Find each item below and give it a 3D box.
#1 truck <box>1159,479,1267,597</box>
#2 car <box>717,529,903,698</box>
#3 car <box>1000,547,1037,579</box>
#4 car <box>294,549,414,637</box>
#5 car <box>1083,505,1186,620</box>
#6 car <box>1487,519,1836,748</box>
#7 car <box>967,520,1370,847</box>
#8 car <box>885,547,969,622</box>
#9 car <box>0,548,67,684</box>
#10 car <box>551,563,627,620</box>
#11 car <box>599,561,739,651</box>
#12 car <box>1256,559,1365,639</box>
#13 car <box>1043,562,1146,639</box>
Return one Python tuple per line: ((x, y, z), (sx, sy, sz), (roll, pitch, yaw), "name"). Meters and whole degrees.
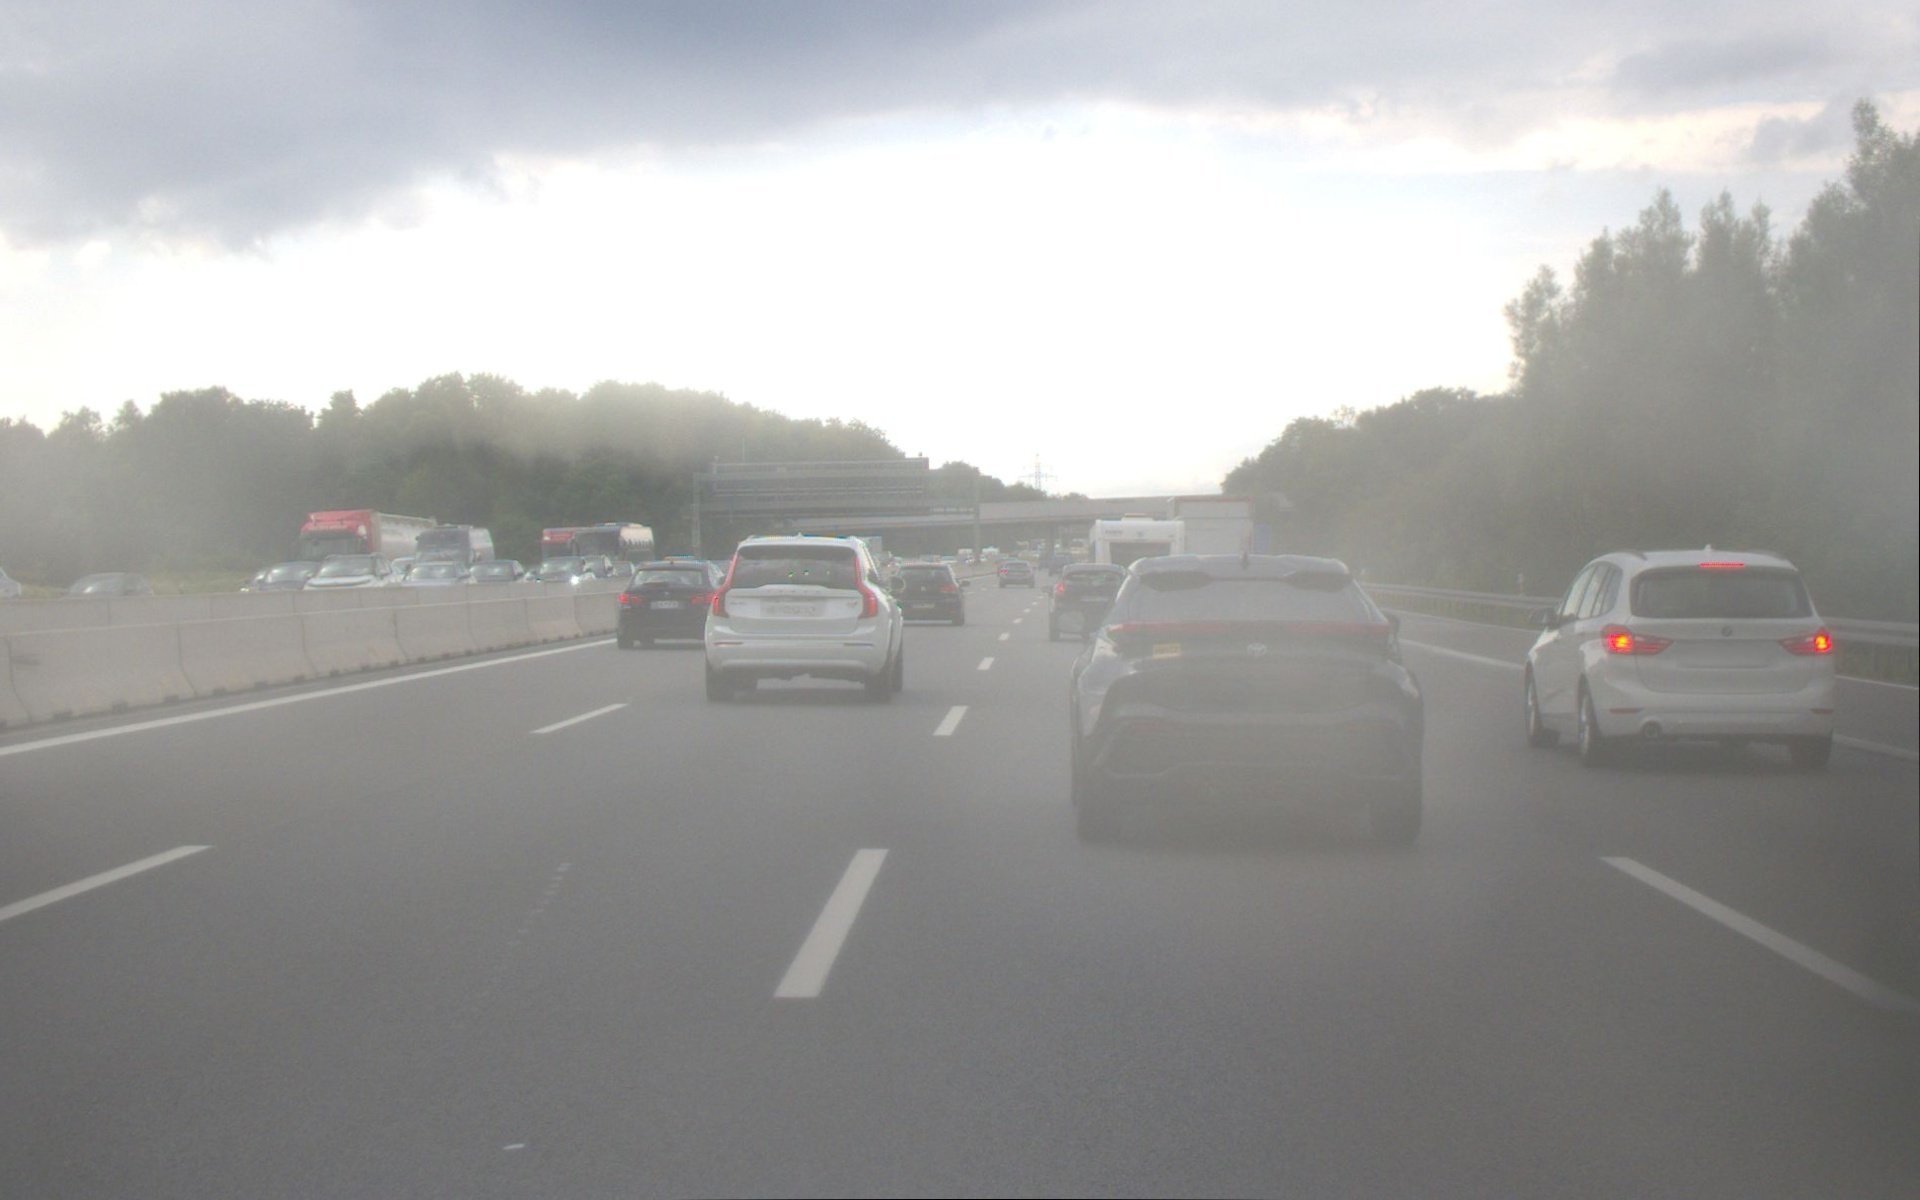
((8.196, -1.998, 112.456), (3.133, 3.697, 9.847), (0, 1, 2), "truck")
((-1.570, 0.111, 37.272), (1.781, 1.710, 4.353), (0, 1, 0), "car")
((3.095, -1.962, 182.788), (1.881, 1.680, 4.000), (0, 1, 0), "car")
((-14.311, -0.193, 81.361), (1.993, 2.007, 4.265), (0, 1, 1), "car")
((4.530, -0.995, 90.137), (2.567, 2.885, 7.533), (0, 1, 2), "car")
((5.277, 0.207, 26.455), (1.810, 1.593, 4.695), (0, 1, 1), "car")
((1.031, 0.385, 19.227), (1.780, 1.607, 4.598), (0, 1, -2), "car")
((-0.750, -0.368, 79.790), (1.881, 1.680, 4.000), (0, 1, 0), "car")
((-15.200, 0.216, 51.995), (1.993, 2.007, 5.182), (0, 1, 1), "car")
((-13.102, -0.320, 121.632), (1.994, 1.960, 4.696), (0, 1, 2), "car")
((-4.940, 0.072, 58.906), (1.781, 1.476, 4.352), (0, 1, 3), "car")
((6.605, -0.045, 65.118), (1.795, 1.472, 4.037), (0, 1, 2), "car")
((2.558, -0.015, 65.416), (1.885, 1.402, 4.282), (0, 1, 2), "car")
